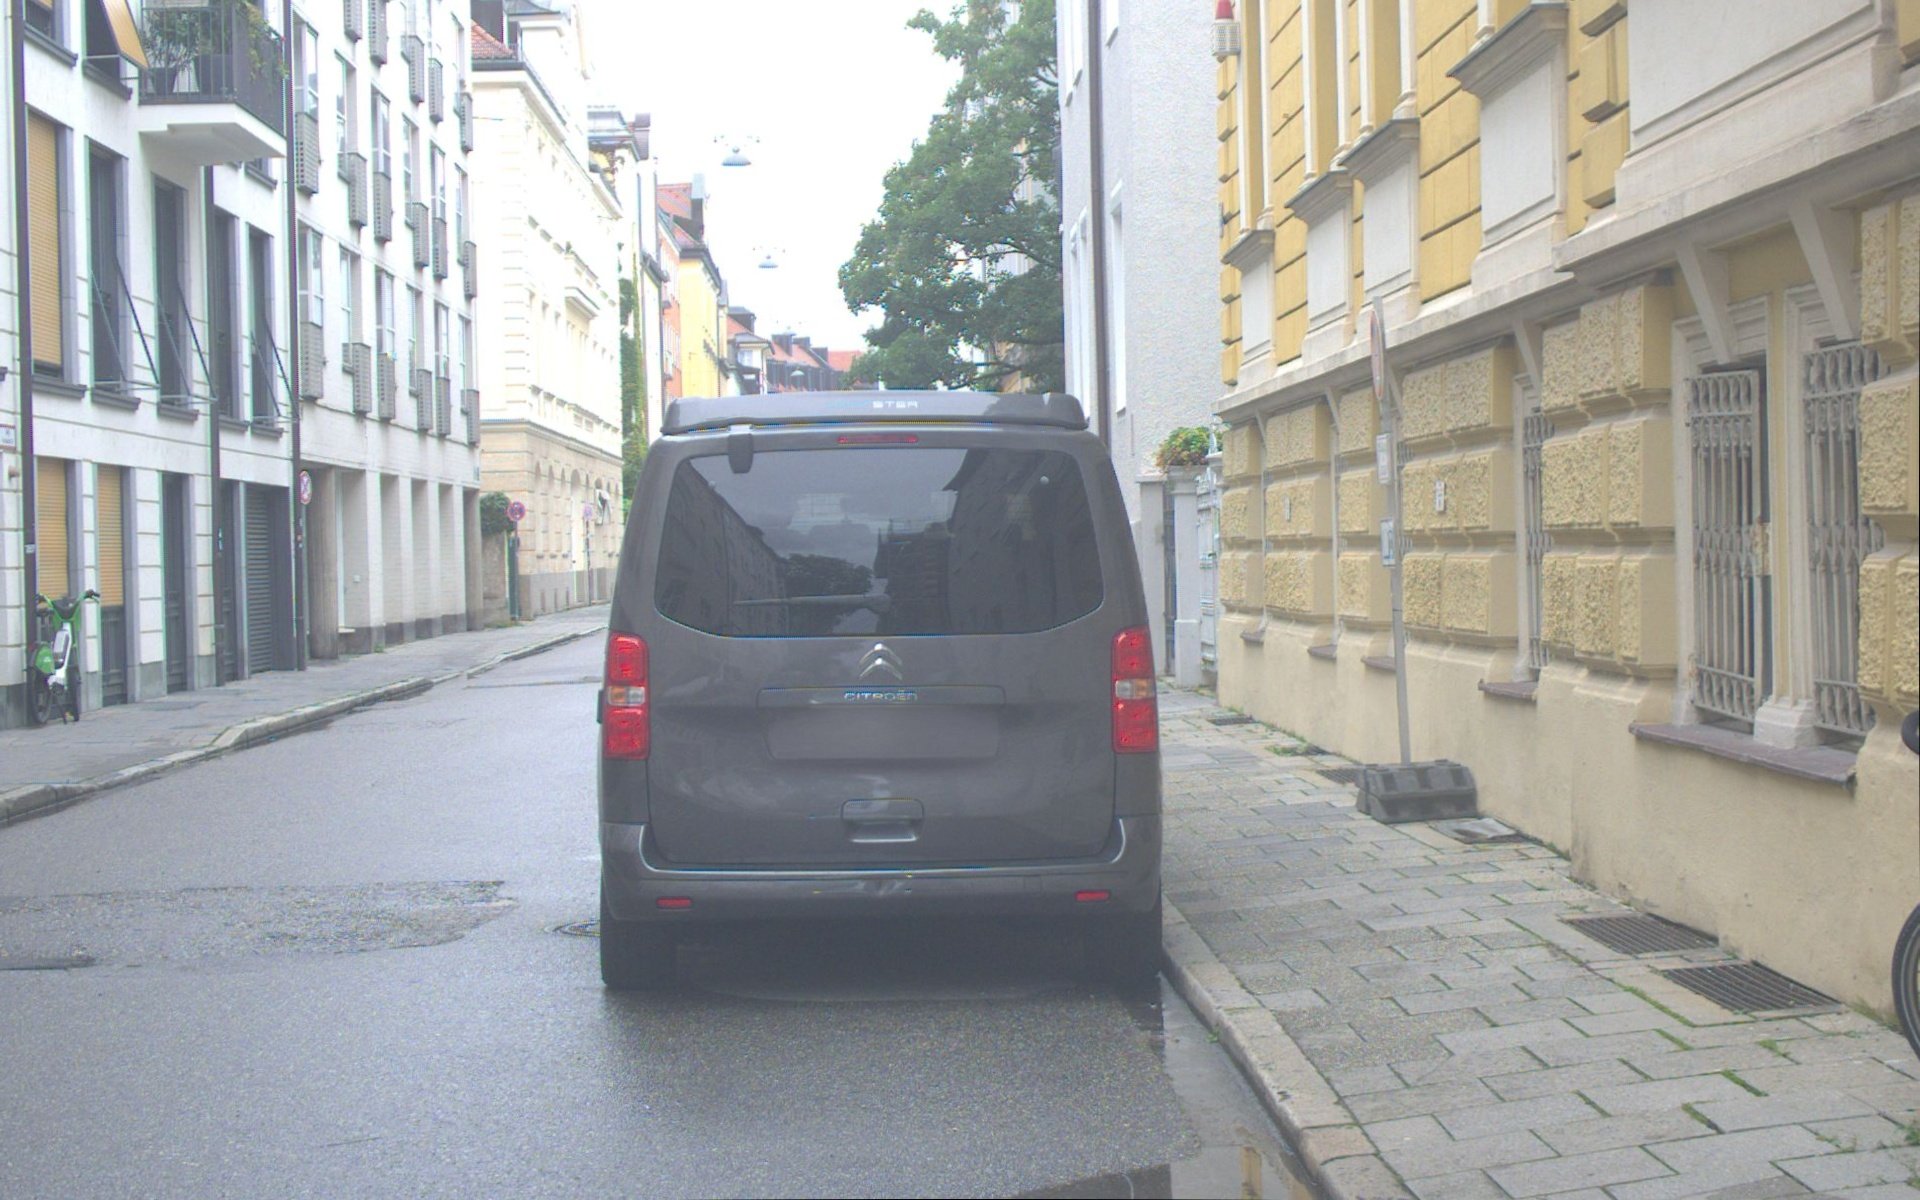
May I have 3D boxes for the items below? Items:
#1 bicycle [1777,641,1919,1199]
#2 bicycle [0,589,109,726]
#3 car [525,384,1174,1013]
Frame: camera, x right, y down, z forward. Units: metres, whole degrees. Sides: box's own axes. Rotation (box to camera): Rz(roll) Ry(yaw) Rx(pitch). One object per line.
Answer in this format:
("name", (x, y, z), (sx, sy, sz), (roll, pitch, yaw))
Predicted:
("bicycle", (2.048, 0.683, 6.088), (0.638, 1.149, 1.915), (-4, 2, -1))
("bicycle", (-7.858, 0.482, 29.900), (0.340, 1.142, 2.191), (-2, 0, 0))
("car", (-0.438, 0.264, 12.892), (1.993, 1.925, 4.660), (0, 1, -3))
